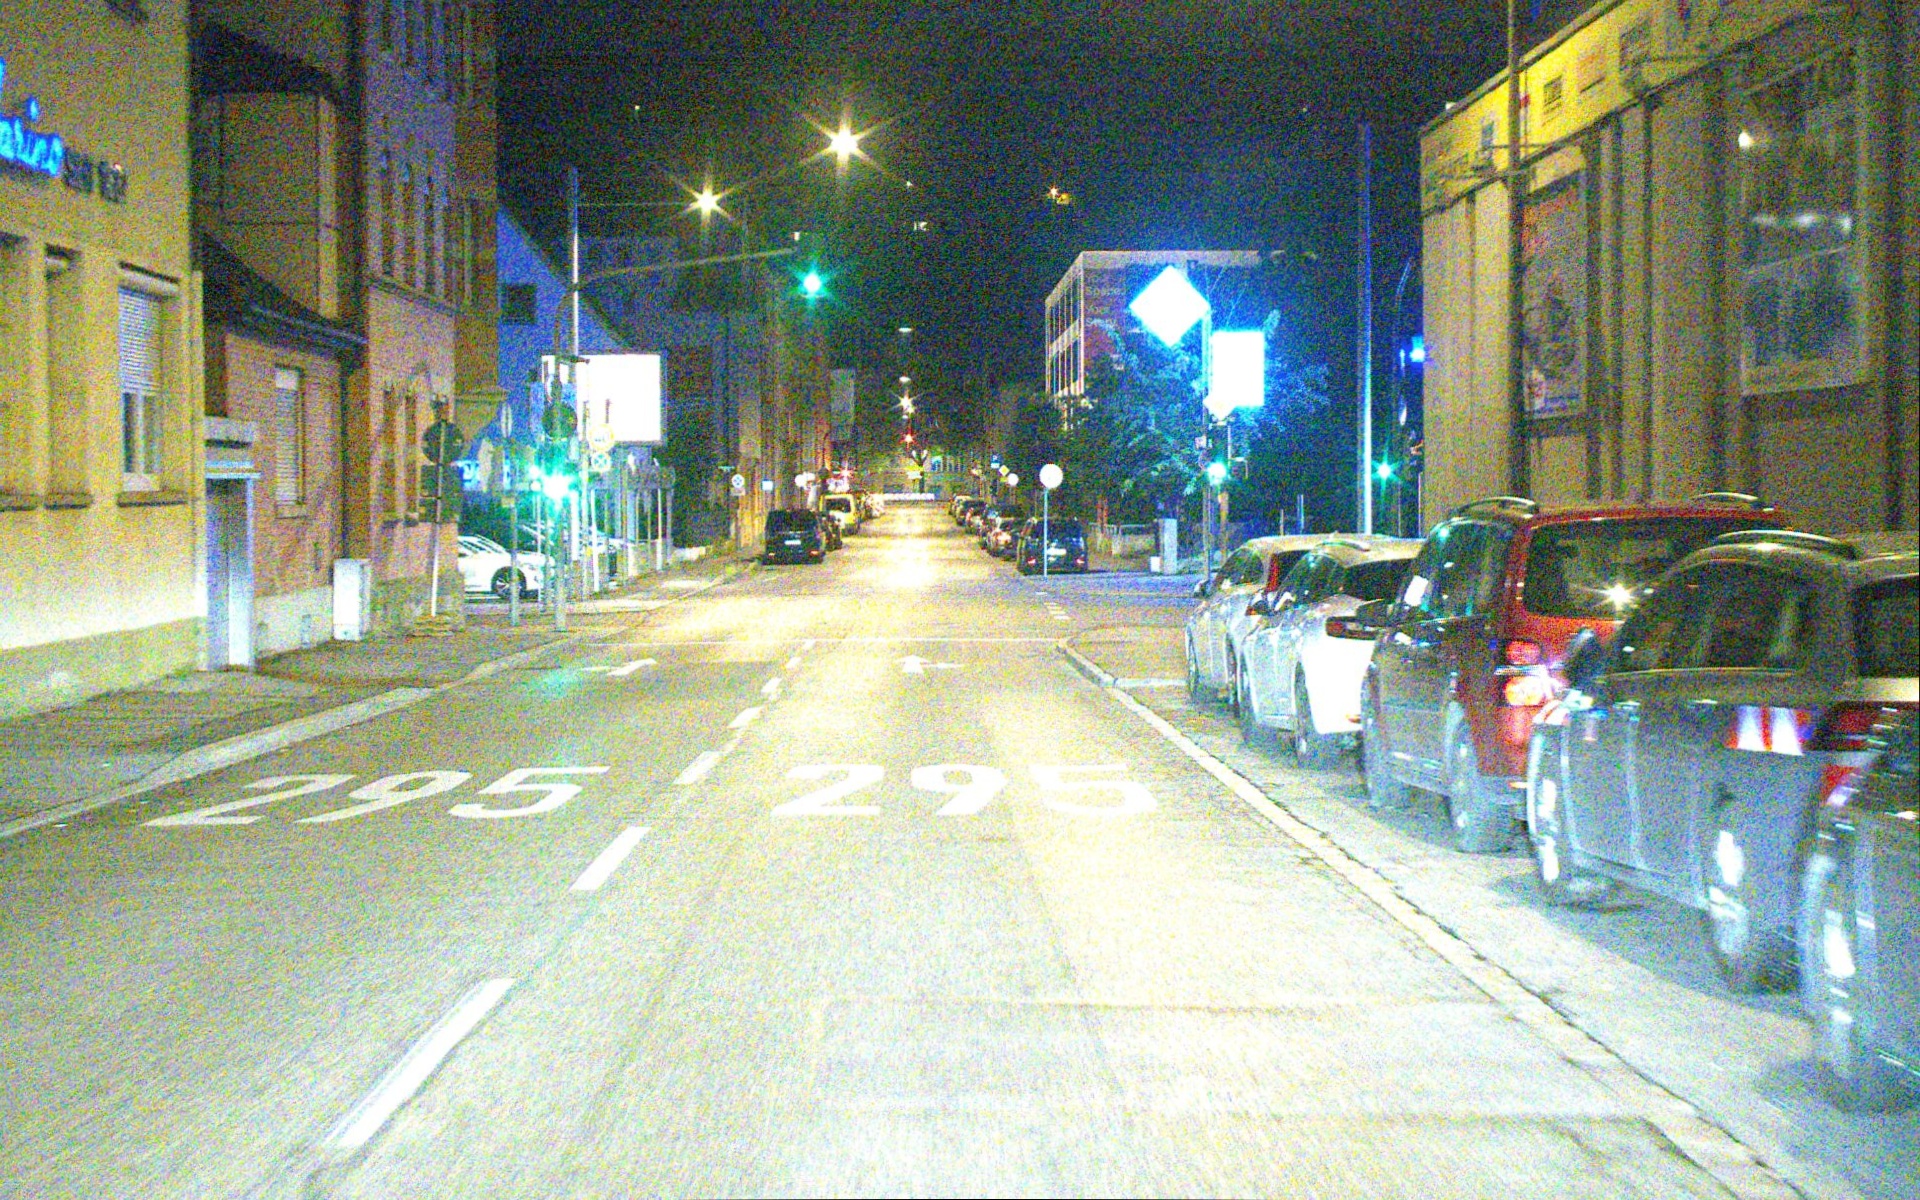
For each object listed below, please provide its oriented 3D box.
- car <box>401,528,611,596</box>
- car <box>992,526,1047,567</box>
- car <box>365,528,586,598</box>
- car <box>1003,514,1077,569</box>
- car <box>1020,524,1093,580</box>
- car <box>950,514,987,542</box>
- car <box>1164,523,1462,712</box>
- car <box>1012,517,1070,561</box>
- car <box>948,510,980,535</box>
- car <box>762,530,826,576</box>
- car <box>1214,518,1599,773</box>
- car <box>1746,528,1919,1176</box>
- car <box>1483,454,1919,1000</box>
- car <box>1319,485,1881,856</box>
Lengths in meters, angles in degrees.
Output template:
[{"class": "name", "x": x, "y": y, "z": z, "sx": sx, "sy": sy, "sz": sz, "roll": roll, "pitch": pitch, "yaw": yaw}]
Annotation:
[{"class": "car", "x": -10.068, "y": -0.843, "z": 76.436, "sx": 4.438, "sy": 1.444, "sz": 2.000, "roll": 0, "pitch": 0, "yaw": -2}, {"class": "car", "x": 2.220, "y": -1.982, "z": 128.491, "sx": 1.993, "sy": 1.515, "sz": 4.000, "roll": 0, "pitch": 0, "yaw": 1}, {"class": "car", "x": -10.315, "y": -0.790, "z": 73.397, "sx": 4.439, "sy": 1.444, "sz": 2.000, "roll": 0, "pitch": 0, "yaw": -1}, {"class": "car", "x": 2.378, "y": -1.760, "z": 103.042, "sx": 1.993, "sy": 1.590, "sz": 4.001, "roll": 1, "pitch": 1, "yaw": -2}, {"class": "car", "x": 2.699, "y": -1.368, "z": 97.306, "sx": 1.993, "sy": 1.511, "sz": 4.000, "roll": 1, "pitch": 1, "yaw": 1}, {"class": "car", "x": 0.489, "y": -4.046, "z": 193.430, "sx": 1.993, "sy": 1.515, "sz": 4.000, "roll": 0, "pitch": 0, "yaw": 1}, {"class": "car", "x": 2.926, "y": 0.118, "z": 29.433, "sx": 1.859, "sy": 1.484, "sz": 4.547, "roll": 0, "pitch": 0, "yaw": -3}, {"class": "car", "x": 2.853, "y": -2.136, "z": 121.495, "sx": 1.993, "sy": 1.515, "sz": 4.000, "roll": 0, "pitch": 0, "yaw": 1}, {"class": "car", "x": 0.261, "y": -4.877, "z": 216.501, "sx": 1.993, "sy": 1.515, "sz": 4.000, "roll": 0, "pitch": 0, "yaw": 1}, {"class": "car", "x": -5.579, "y": -1.576, "z": 115.681, "sx": 1.993, "sy": 1.497, "sz": 4.000, "roll": 0, "pitch": 0, "yaw": 0}, {"class": "car", "x": 2.884, "y": 0.256, "z": 23.160, "sx": 1.774, "sy": 1.539, "sz": 4.547, "roll": 0, "pitch": 0, "yaw": -3}, {"class": "car", "x": 3.009, "y": 0.547, "z": 7.397, "sx": 1.816, "sy": 1.422, "sz": 4.188, "roll": -1, "pitch": 1, "yaw": 3}, {"class": "car", "x": 3.221, "y": 0.304, "z": 12.339, "sx": 1.823, "sy": 1.583, "sz": 4.629, "roll": -1, "pitch": 1, "yaw": -2}, {"class": "car", "x": 3.080, "y": 0.261, "z": 17.501, "sx": 1.823, "sy": 1.617, "sz": 4.458, "roll": -1, "pitch": 1, "yaw": -3}]
